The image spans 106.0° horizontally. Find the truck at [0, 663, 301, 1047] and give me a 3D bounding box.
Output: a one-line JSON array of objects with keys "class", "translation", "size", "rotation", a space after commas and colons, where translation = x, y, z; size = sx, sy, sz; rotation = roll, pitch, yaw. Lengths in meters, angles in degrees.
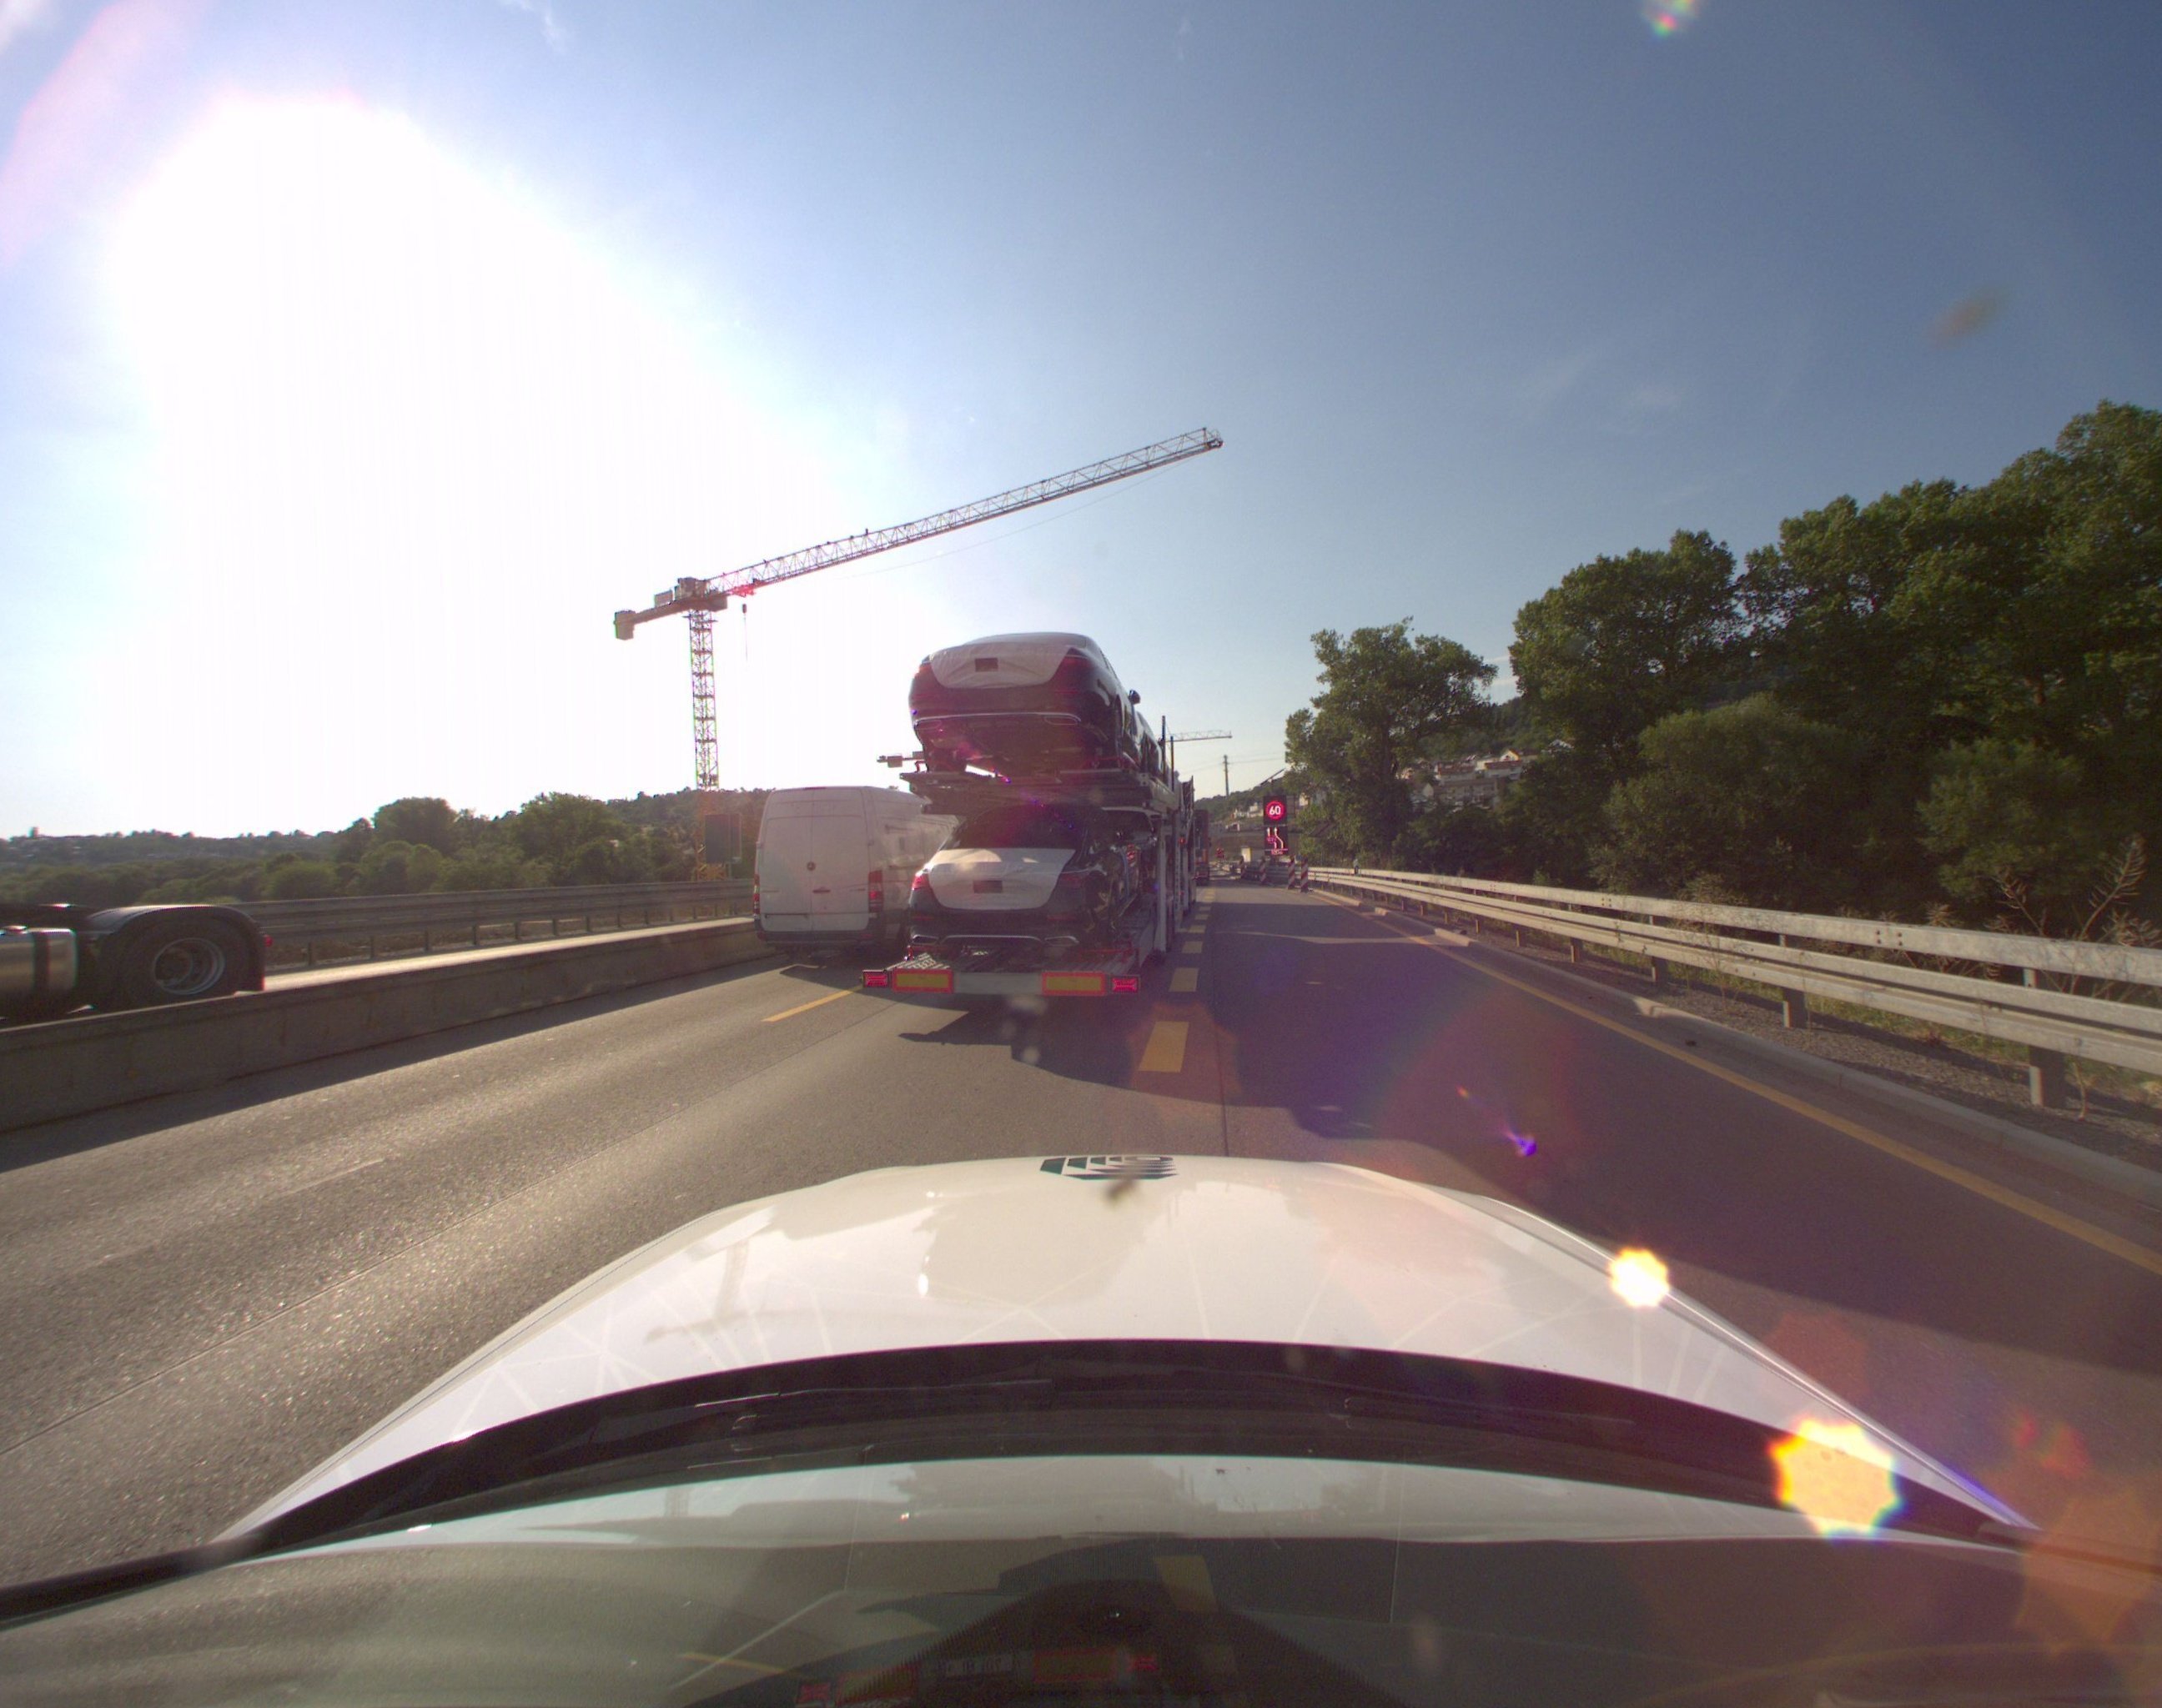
[{"class": "truck", "translation": [-11.094, 0.052, 6.790], "size": [2.878, 3.396, 5.969], "rotation": [-2, 0, 10]}]

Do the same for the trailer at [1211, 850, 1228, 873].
[{"class": "trailer", "translation": [28.347, 1.490, 167.291], "size": [3.085, 4.314, 14.288], "rotation": [-2, 0, 9]}]

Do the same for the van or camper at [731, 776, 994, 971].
[{"class": "van or camper", "translation": [-3.324, 0.280, 14.041], "size": [1.981, 2.620, 5.920], "rotation": [-2, 0, 10]}]

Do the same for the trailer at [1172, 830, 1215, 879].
[{"class": "trailer", "translation": [10.619, 0.057, 75.784], "size": [3.365, 3.996, 14.782], "rotation": [-2, 0, 9]}]

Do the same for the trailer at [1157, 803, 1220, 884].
[{"class": "trailer", "translation": [6.539, -0.530, 47.888], "size": [2.940, 4.092, 10.824], "rotation": [-3, -1, 10]}]

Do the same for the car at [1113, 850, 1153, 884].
[{"class": "car", "translation": [2.873, 0.657, 44.231], "size": [1.820, 1.654, 4.008], "rotation": [-4, -1, 7]}]

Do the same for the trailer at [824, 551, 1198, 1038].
[{"class": "trailer", "translation": [0.481, -0.448, 14.699], "size": [2.840, 3.996, 15.786], "rotation": [-2, 0, 9]}]

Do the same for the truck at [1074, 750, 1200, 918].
[{"class": "truck", "translation": [1.831, -0.475, 23.169], "size": [2.831, 3.996, 6.641], "rotation": [-2, 0, 9]}]

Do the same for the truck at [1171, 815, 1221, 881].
[{"class": "truck", "translation": [7.689, -0.348, 53.817], "size": [2.867, 3.996, 6.643], "rotation": [-2, 0, 10]}]

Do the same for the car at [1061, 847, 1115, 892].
[{"class": "car", "translation": [0.370, 0.660, 35.582], "size": [1.820, 1.752, 4.008], "rotation": [-4, -1, 7]}]

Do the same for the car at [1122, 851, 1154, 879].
[{"class": "car", "translation": [3.820, 0.699, 53.974], "size": [1.820, 1.654, 4.008], "rotation": [-4, -1, 7]}]

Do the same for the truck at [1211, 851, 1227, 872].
[{"class": "truck", "translation": [29.443, 1.485, 173.957], "size": [3.080, 4.285, 6.641], "rotation": [-2, 0, 9]}]

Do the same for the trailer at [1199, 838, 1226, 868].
[{"class": "trailer", "translation": [18.696, -0.124, 116.128], "size": [3.365, 3.996, 14.782], "rotation": [-2, 0, 9]}]
